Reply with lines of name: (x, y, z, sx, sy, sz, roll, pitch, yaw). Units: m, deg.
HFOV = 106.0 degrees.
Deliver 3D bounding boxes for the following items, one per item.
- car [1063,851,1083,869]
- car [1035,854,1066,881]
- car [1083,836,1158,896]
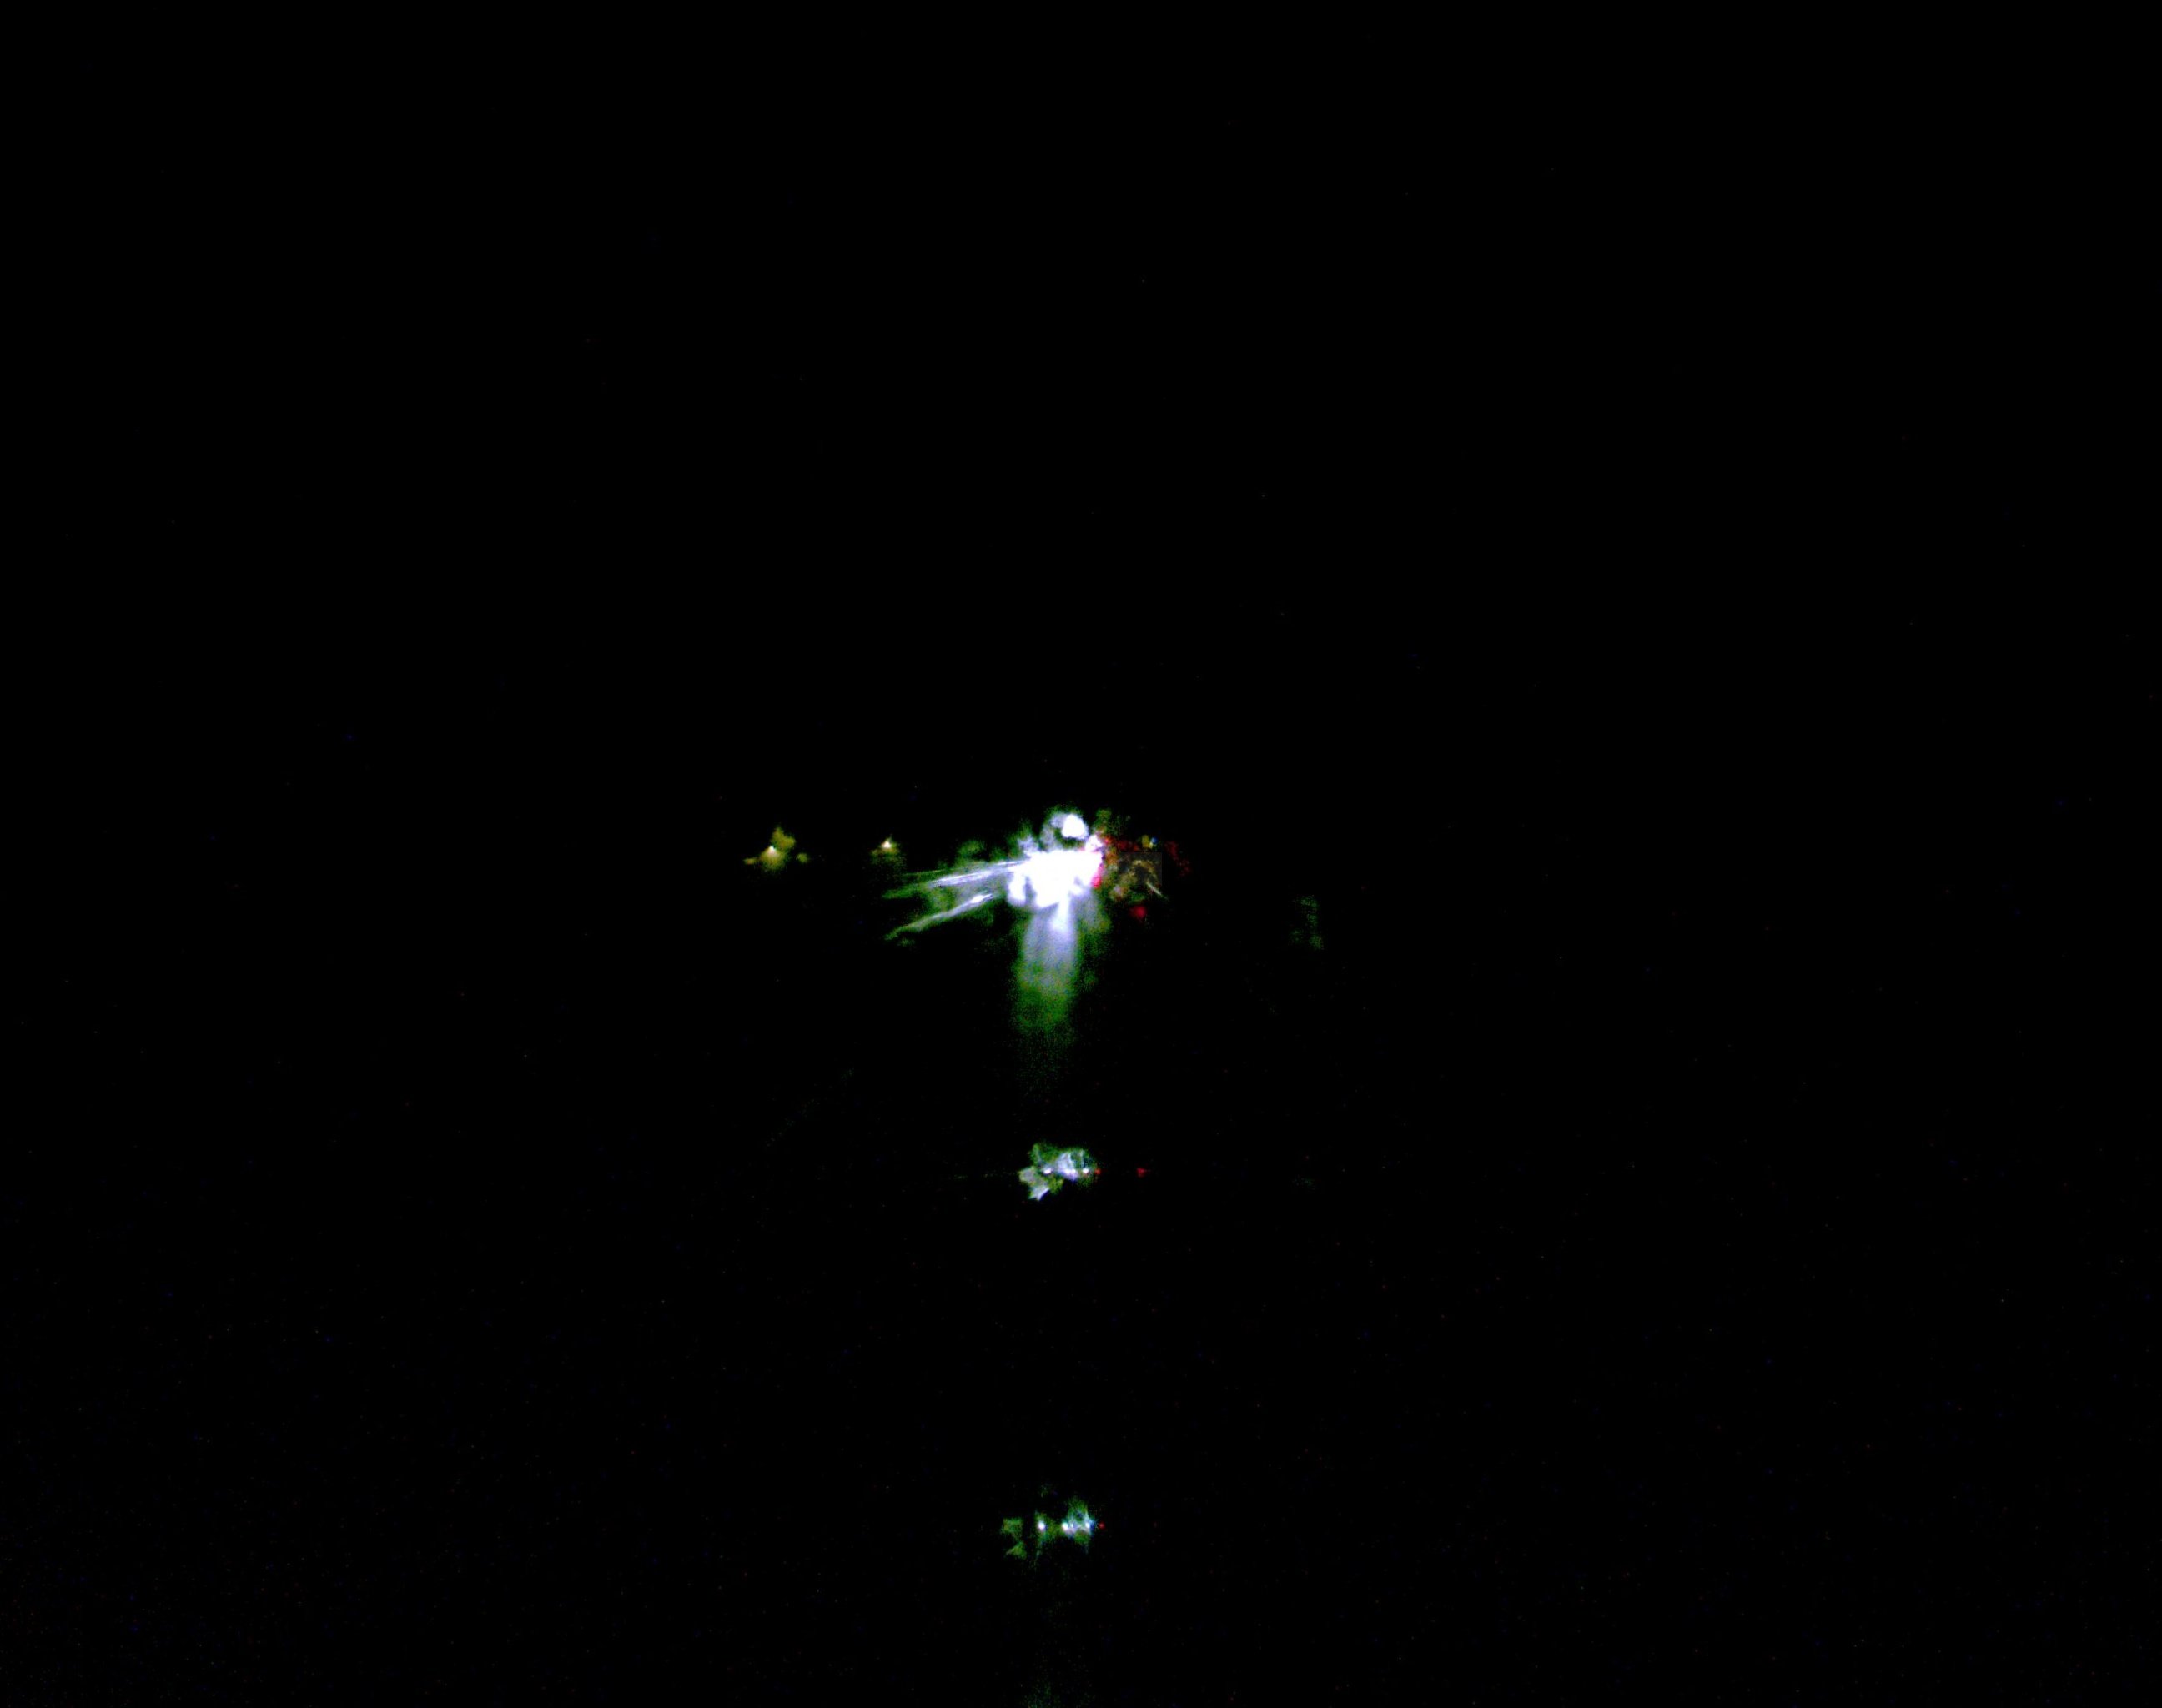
car: (-0.846, 0.626, 86.303, 1.848, 1.683, 4.327, -4, 1, 2)
car: (-1.986, 0.869, 53.667, 1.789, 1.538, 3.800, -4, 0, 0)
car: (1.378, 0.418, 29.789, 2.449, 1.958, 4.912, -1, 0, 1)
